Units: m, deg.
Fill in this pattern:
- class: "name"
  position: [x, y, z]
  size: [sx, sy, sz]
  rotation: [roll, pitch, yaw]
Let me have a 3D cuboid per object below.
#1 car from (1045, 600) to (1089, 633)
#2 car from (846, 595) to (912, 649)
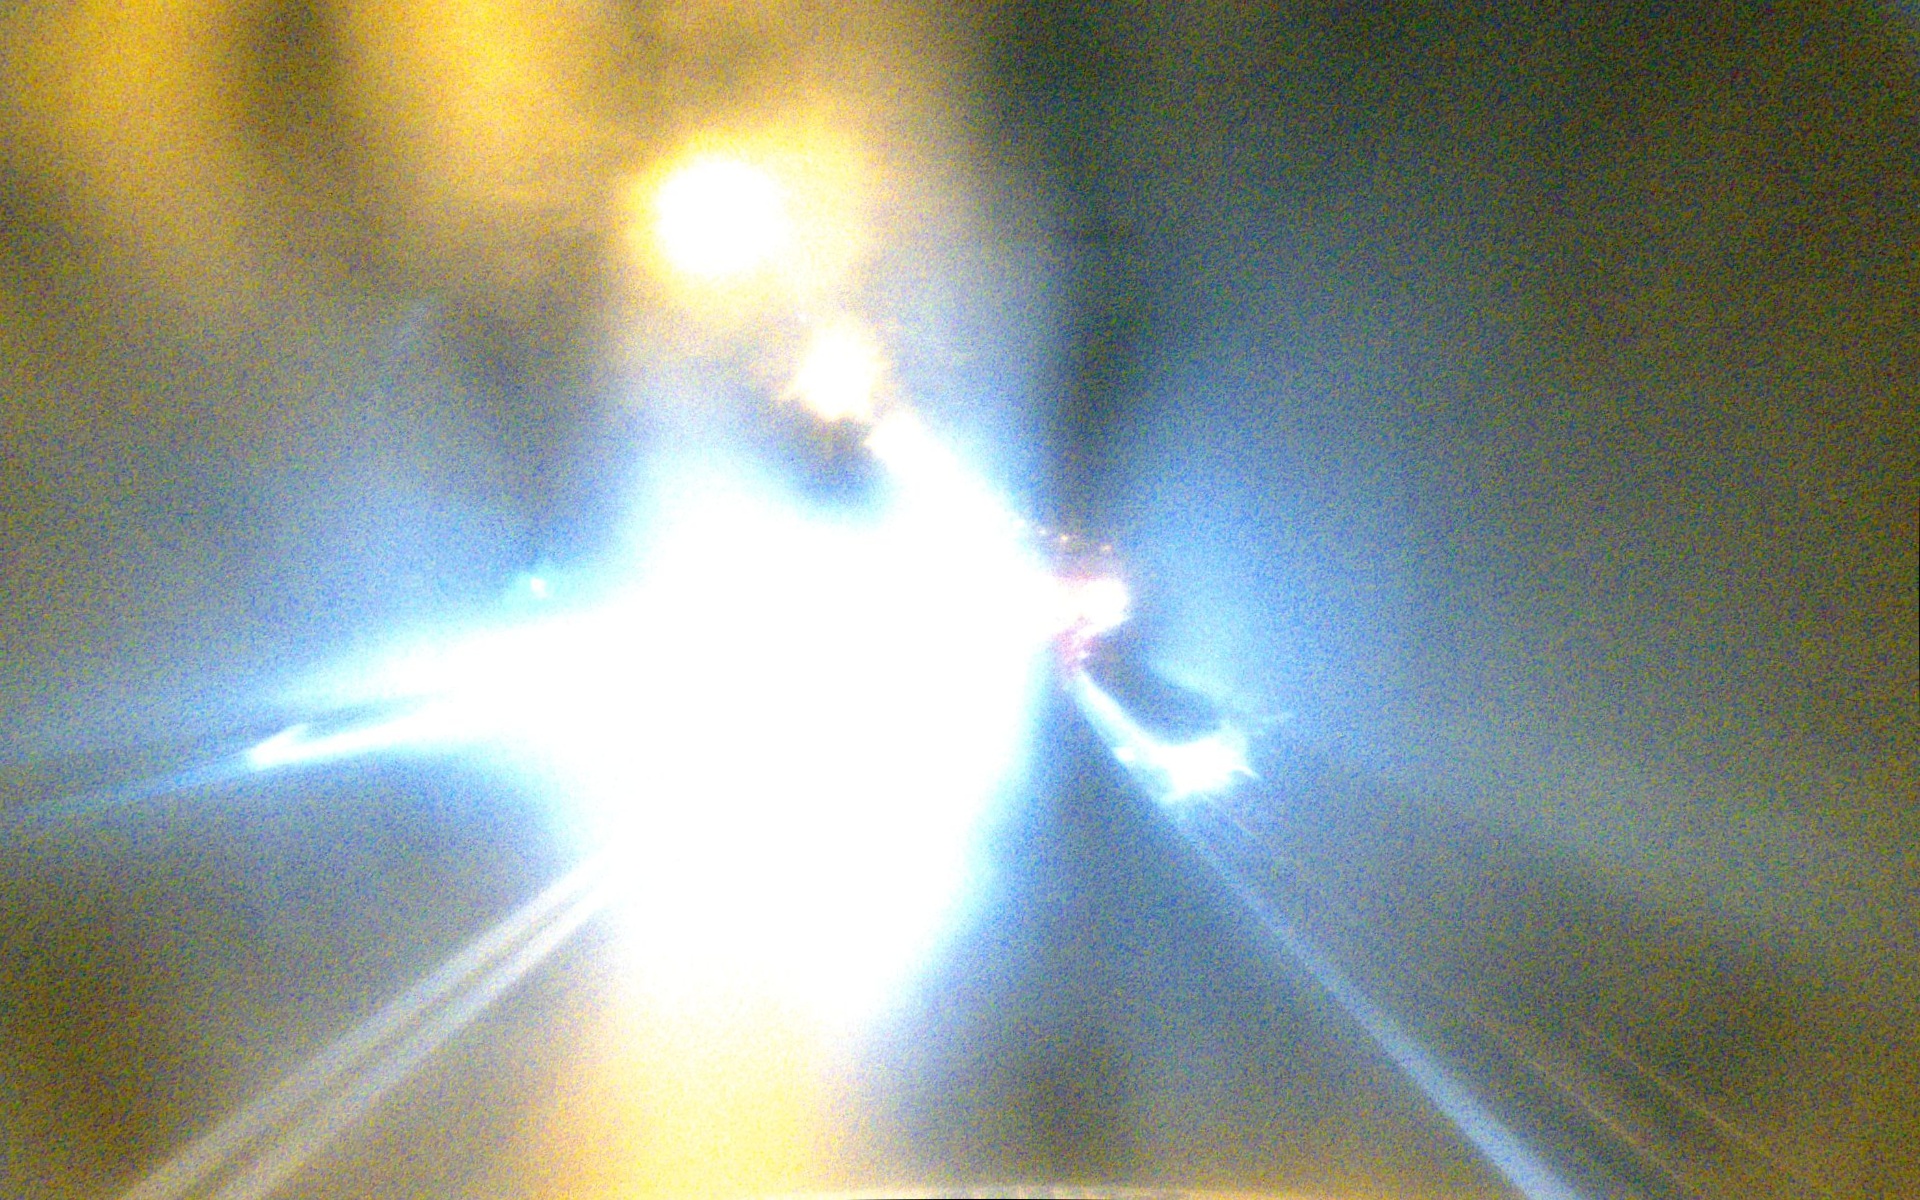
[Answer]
- class: "car"
  position: [5.719, 0.850, 88.106]
  size: [1.951, 1.679, 4.003]
  rotation: [0, 0, 10]
- class: "car"
  position: [-2.235, 0.589, 46.450]
  size: [1.596, 1.422, 4.001]
  rotation: [0, 0, 1]
